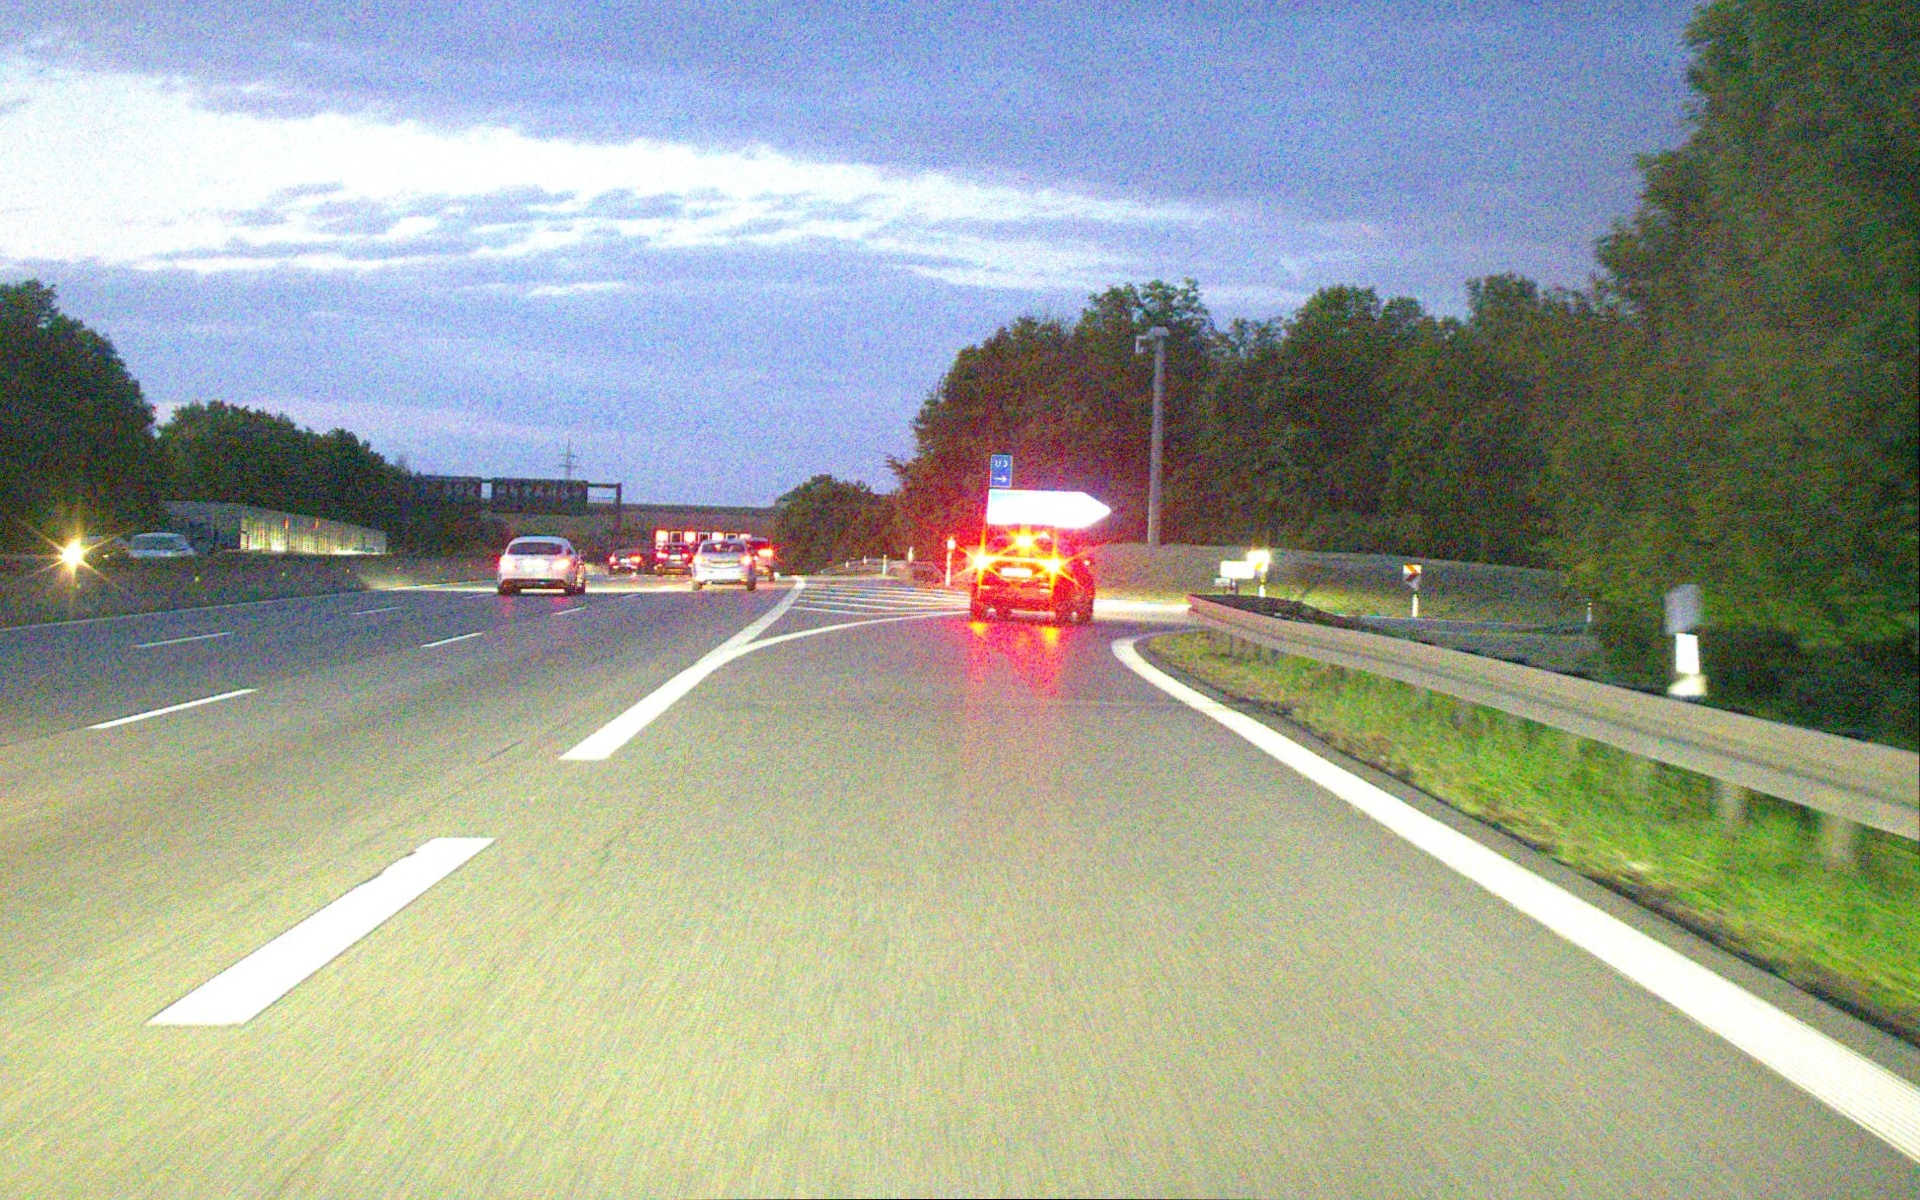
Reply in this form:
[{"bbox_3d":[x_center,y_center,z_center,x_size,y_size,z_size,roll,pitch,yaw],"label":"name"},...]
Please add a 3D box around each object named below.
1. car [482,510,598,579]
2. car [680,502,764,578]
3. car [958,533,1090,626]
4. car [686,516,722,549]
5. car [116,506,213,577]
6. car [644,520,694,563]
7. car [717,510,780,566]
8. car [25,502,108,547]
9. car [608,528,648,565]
[{"bbox_3d":[-10.204,-1.364,83.797,1.994,1.637,4.554,0,1,4],"label":"car"},{"bbox_3d":[-6.467,-1.649,93.668,1.993,2.007,4.000,1,1,0],"label":"car"},{"bbox_3d":[1.242,-0.419,64.488,1.994,1.653,4.314,1,1,8],"label":"car"},{"bbox_3d":[-15.421,-4.063,207.071,1.993,2.007,4.001,0,1,-6],"label":"car"},{"bbox_3d":[-23.601,-1.731,102.124,1.993,2.007,4.000,2,1,-1],"label":"car"},{"bbox_3d":[-13.787,-2.788,163.134,2.071,2.007,4.000,0,1,-1],"label":"car"},{"bbox_3d":[-7.683,-2.284,125.076,1.993,2.007,4.000,0,1,1],"label":"car"},{"bbox_3d":[-32.354,-2.726,124.611,1.993,1.543,4.000,2,1,-2],"label":"car"},{"bbox_3d":[-18.558,-3.026,192.267,2.104,2.007,4.001,-1,1,-4],"label":"car"}]
